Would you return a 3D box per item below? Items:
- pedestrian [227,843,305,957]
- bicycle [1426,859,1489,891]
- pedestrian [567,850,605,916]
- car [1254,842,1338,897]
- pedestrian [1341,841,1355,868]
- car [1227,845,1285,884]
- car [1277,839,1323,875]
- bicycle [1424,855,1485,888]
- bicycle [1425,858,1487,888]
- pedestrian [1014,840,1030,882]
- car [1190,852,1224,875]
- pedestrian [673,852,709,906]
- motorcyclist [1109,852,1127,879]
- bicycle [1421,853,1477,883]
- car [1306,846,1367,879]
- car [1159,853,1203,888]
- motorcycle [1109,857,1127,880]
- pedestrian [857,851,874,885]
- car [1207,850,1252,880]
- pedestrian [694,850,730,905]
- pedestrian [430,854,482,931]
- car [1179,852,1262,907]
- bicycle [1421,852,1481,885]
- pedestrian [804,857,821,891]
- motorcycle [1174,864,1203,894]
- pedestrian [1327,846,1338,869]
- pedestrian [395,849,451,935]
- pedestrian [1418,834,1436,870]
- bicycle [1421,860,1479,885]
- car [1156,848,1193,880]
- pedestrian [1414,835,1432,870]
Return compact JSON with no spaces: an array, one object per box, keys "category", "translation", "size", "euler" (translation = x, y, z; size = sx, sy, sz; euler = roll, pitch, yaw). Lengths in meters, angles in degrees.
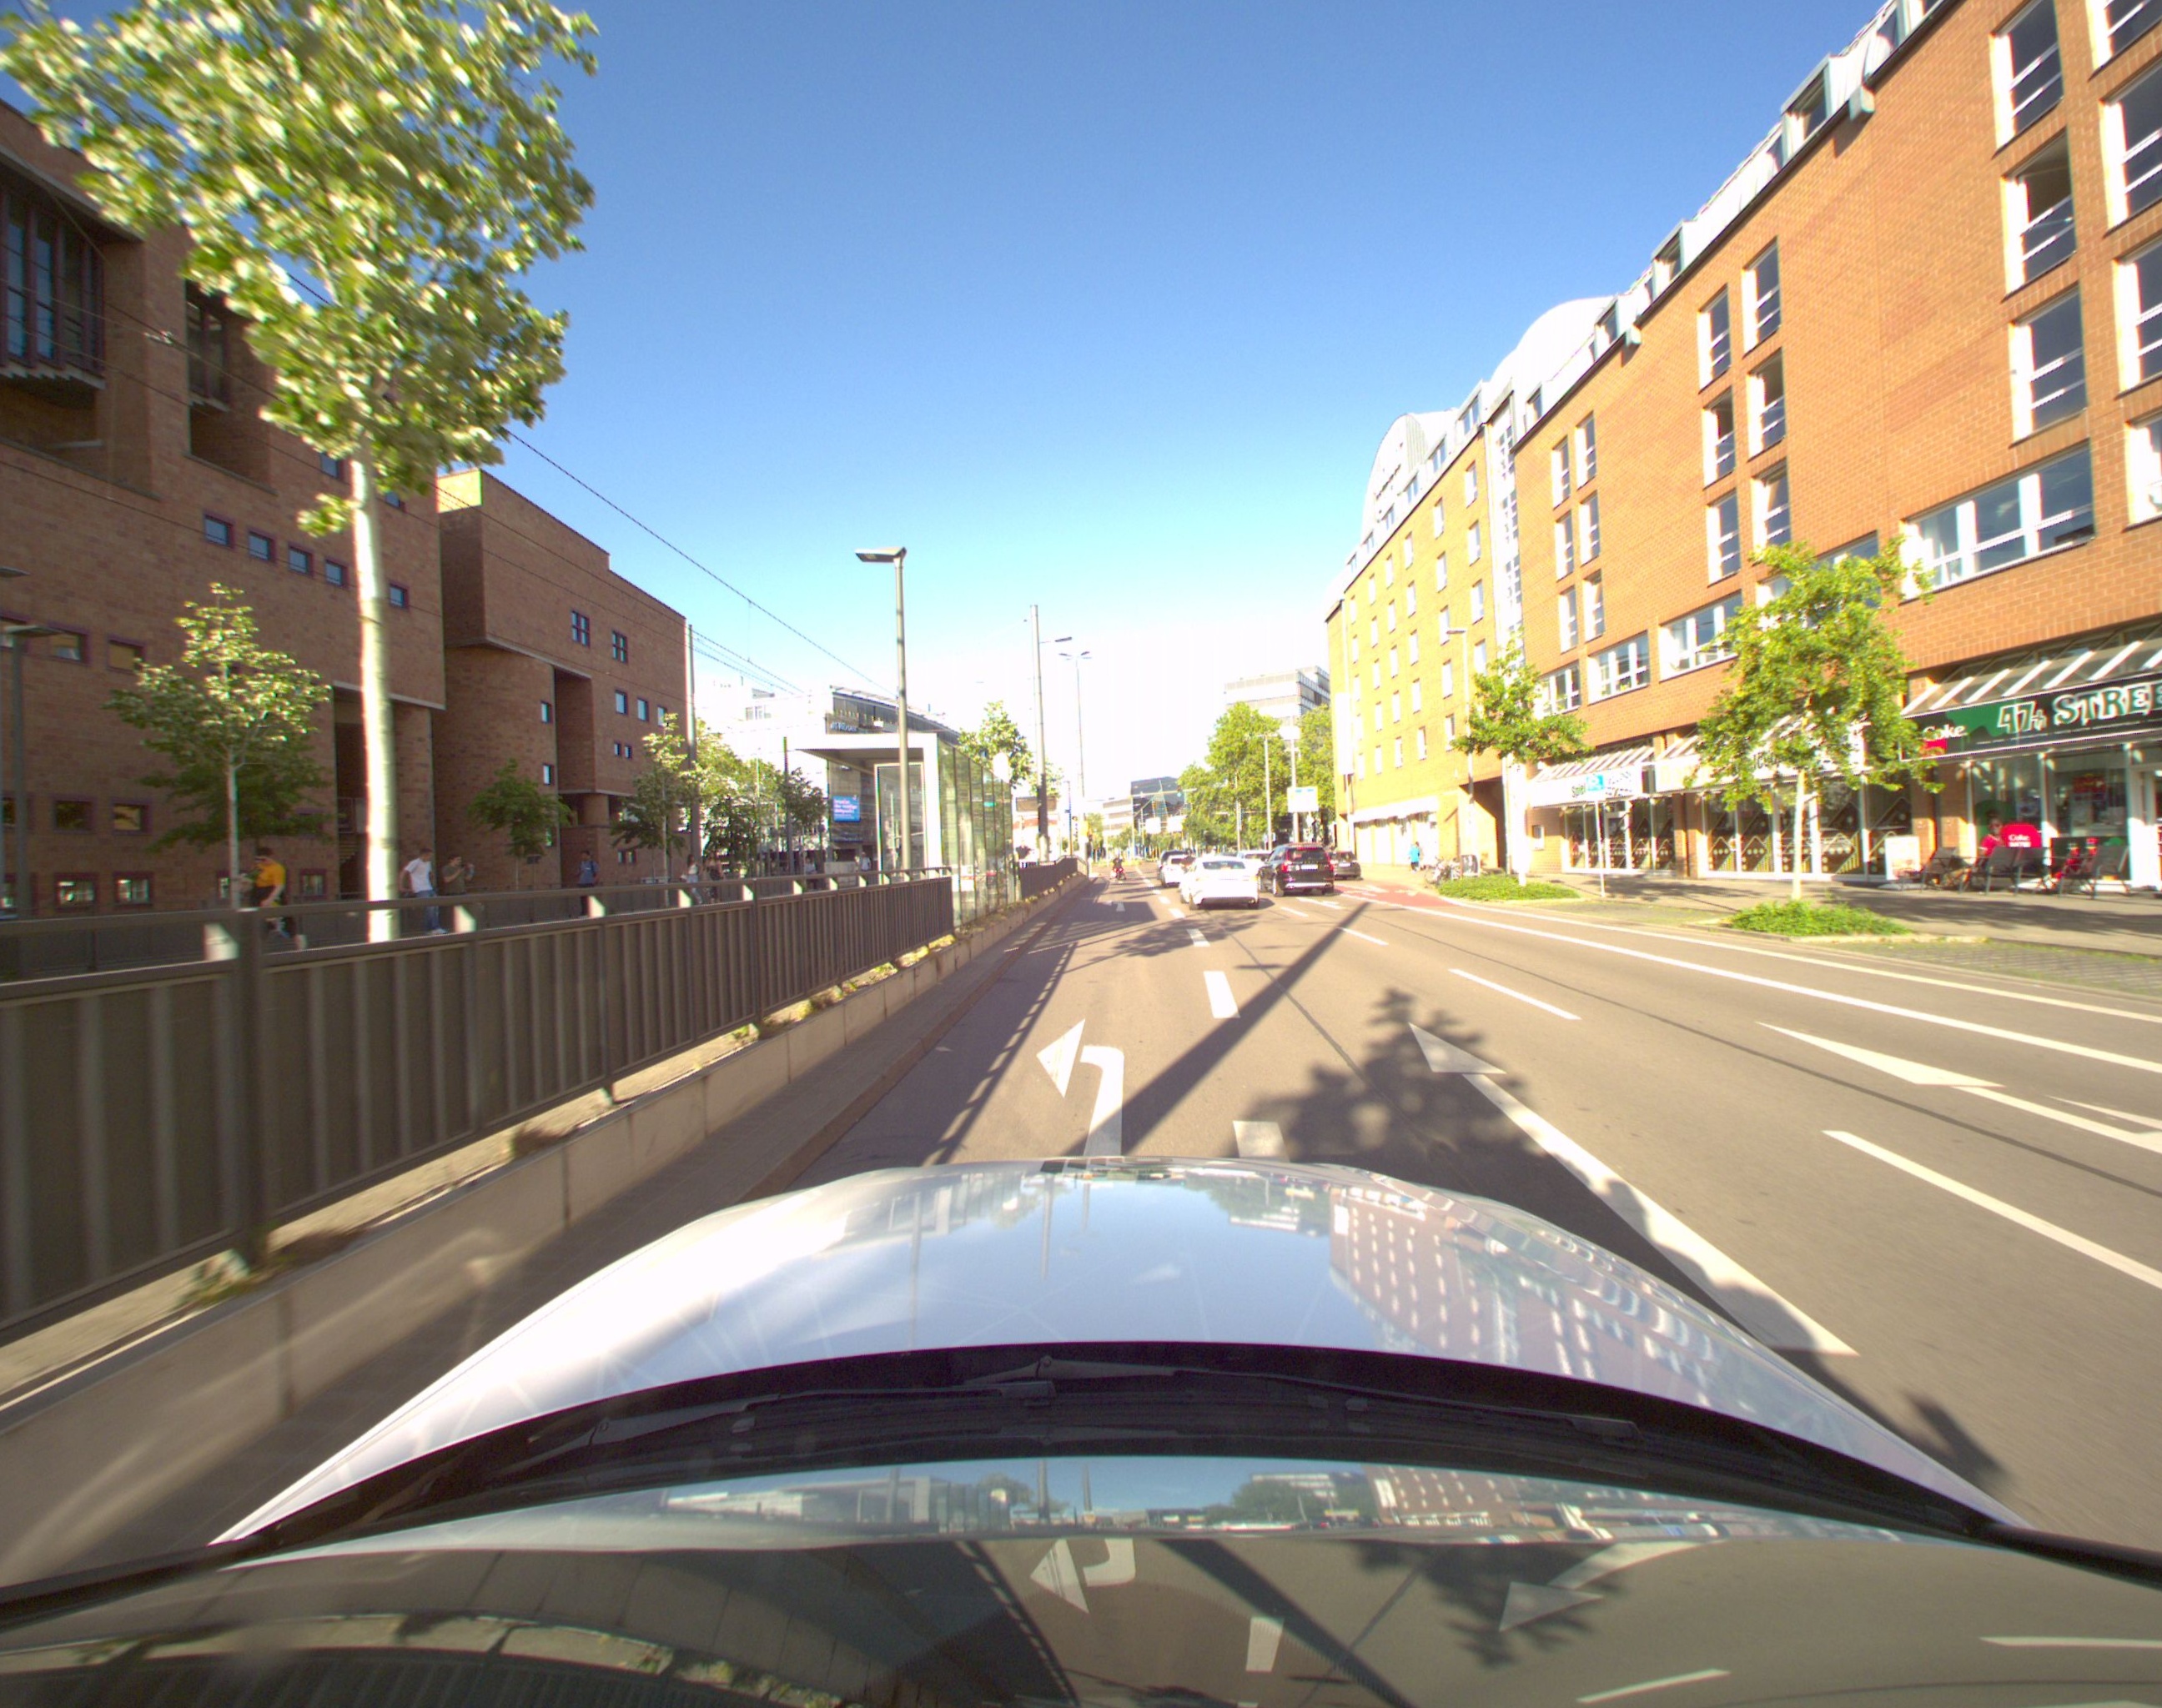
[{"category":"pedestrian","translation":[-12.378,0.689,12.380],"size":[0.637,1.696,0.541],"euler":[0,-1,3]},{"category":"bicycle","translation":[13.274,0.732,28.752],"size":[1.929,1.022,0.504],"euler":[-4,-1,20]},{"category":"pedestrian","translation":[-13.195,0.761,21.726],"size":[0.579,1.738,0.616],"euler":[-1,-1,3]},{"category":"car","translation":[7.472,0.512,28.764],"size":[1.966,1.759,4.636],"euler":[0,0,3]},{"category":"pedestrian","translation":[18.137,0.041,55.307],"size":[0.604,1.821,0.749],"euler":[-2,-1,2]},{"category":"car","translation":[7.796,0.445,36.612],"size":[1.843,1.639,4.382],"euler":[-2,0,3]},{"category":"car","translation":[13.022,0.167,48.688],"size":[1.852,1.961,4.005],"euler":[-2,0,4]},{"category":"bicycle","translation":[13.713,0.644,29.961],"size":[1.931,1.075,0.556],"euler":[-4,-1,13]},{"category":"bicycle","translation":[13.459,0.682,29.261],"size":[1.929,0.969,0.557],"euler":[-4,-1,20]},{"category":"pedestrian","translation":[-2.359,0.273,32.553],"size":[0.517,1.669,0.550],"euler":[-1,-1,3]},{"category":"car","translation":[8.721,0.644,56.493],"size":[1.843,1.497,4.382],"euler":[-2,0,3]},{"category":"pedestrian","translation":[-11.997,0.760,25.075],"size":[0.637,1.608,0.946],"euler":[0,0,3]},{"category":"motorcyclist","translation":[2.221,0.693,48.939],"size":[1.014,1.603,1.149],"euler":[0,0,3]},{"category":"bicycle","translation":[14.821,0.565,32.824],"size":[1.931,1.074,0.628],"euler":[-4,-1,14]},{"category":"car","translation":[12.734,0.405,40.881],"size":[1.839,1.560,4.636],"euler":[0,0,3]},{"category":"car","translation":[4.493,0.699,37.138],"size":[1.685,1.497,4.412],"euler":[0,0,3]},{"category":"motorcycle","translation":[2.224,0.837,48.868],"size":[1.014,1.312,2.917],"euler":[0,0,3]},{"category":"pedestrian","translation":[-11.715,0.770,44.205],"size":[0.611,1.817,0.897],"euler":[-1,-1,3]},{"category":"car","translation":[8.185,0.585,45.167],"size":[1.843,1.497,4.382],"euler":[-2,0,3]},{"category":"pedestrian","translation":[-11.359,0.715,25.065],"size":[0.637,1.643,0.946],"euler":[0,0,3]},{"category":"pedestrian","translation":[-13.448,0.810,17.537],"size":[0.620,1.612,0.616],"euler":[-1,-1,3]},{"category":"car","translation":[3.881,0.659,23.368],"size":[1.773,1.414,4.822],"euler":[0,0,3]},{"category":"bicycle","translation":[13.840,0.538,30.479],"size":[1.931,1.137,0.492],"euler":[-4,-1,13]},{"category":"pedestrian","translation":[-12.905,0.937,39.178],"size":[0.561,1.609,0.616],"euler":[-1,-1,3]},{"category":"motorcycle","translation":[4.192,0.948,31.870],"size":[0.834,1.062,2.553],"euler":[-2,0,2]},{"category":"pedestrian","translation":[19.772,0.265,64.078],"size":[0.604,1.821,0.749],"euler":[-2,-1,2]},{"category":"pedestrian","translation":[-13.492,0.765,16.713],"size":[0.620,1.715,0.616],"euler":[-1,-1,3]},{"category":"pedestrian","translation":[18.095,-0.113,42.602],"size":[0.604,1.821,0.749],"euler":[-2,-1,2]},{"category":"bicycle","translation":[14.234,0.718,31.424],"size":[1.926,0.835,0.558],"euler":[-4,-1,29]},{"category":"car","translation":[5.243,0.552,45.906],"size":[1.790,1.705,4.066],"euler":[-2,0,3]},{"category":"pedestrian","translation":[18.160,-0.093,43.275],"size":[0.604,1.821,0.749],"euler":[-2,-1,2]}]
